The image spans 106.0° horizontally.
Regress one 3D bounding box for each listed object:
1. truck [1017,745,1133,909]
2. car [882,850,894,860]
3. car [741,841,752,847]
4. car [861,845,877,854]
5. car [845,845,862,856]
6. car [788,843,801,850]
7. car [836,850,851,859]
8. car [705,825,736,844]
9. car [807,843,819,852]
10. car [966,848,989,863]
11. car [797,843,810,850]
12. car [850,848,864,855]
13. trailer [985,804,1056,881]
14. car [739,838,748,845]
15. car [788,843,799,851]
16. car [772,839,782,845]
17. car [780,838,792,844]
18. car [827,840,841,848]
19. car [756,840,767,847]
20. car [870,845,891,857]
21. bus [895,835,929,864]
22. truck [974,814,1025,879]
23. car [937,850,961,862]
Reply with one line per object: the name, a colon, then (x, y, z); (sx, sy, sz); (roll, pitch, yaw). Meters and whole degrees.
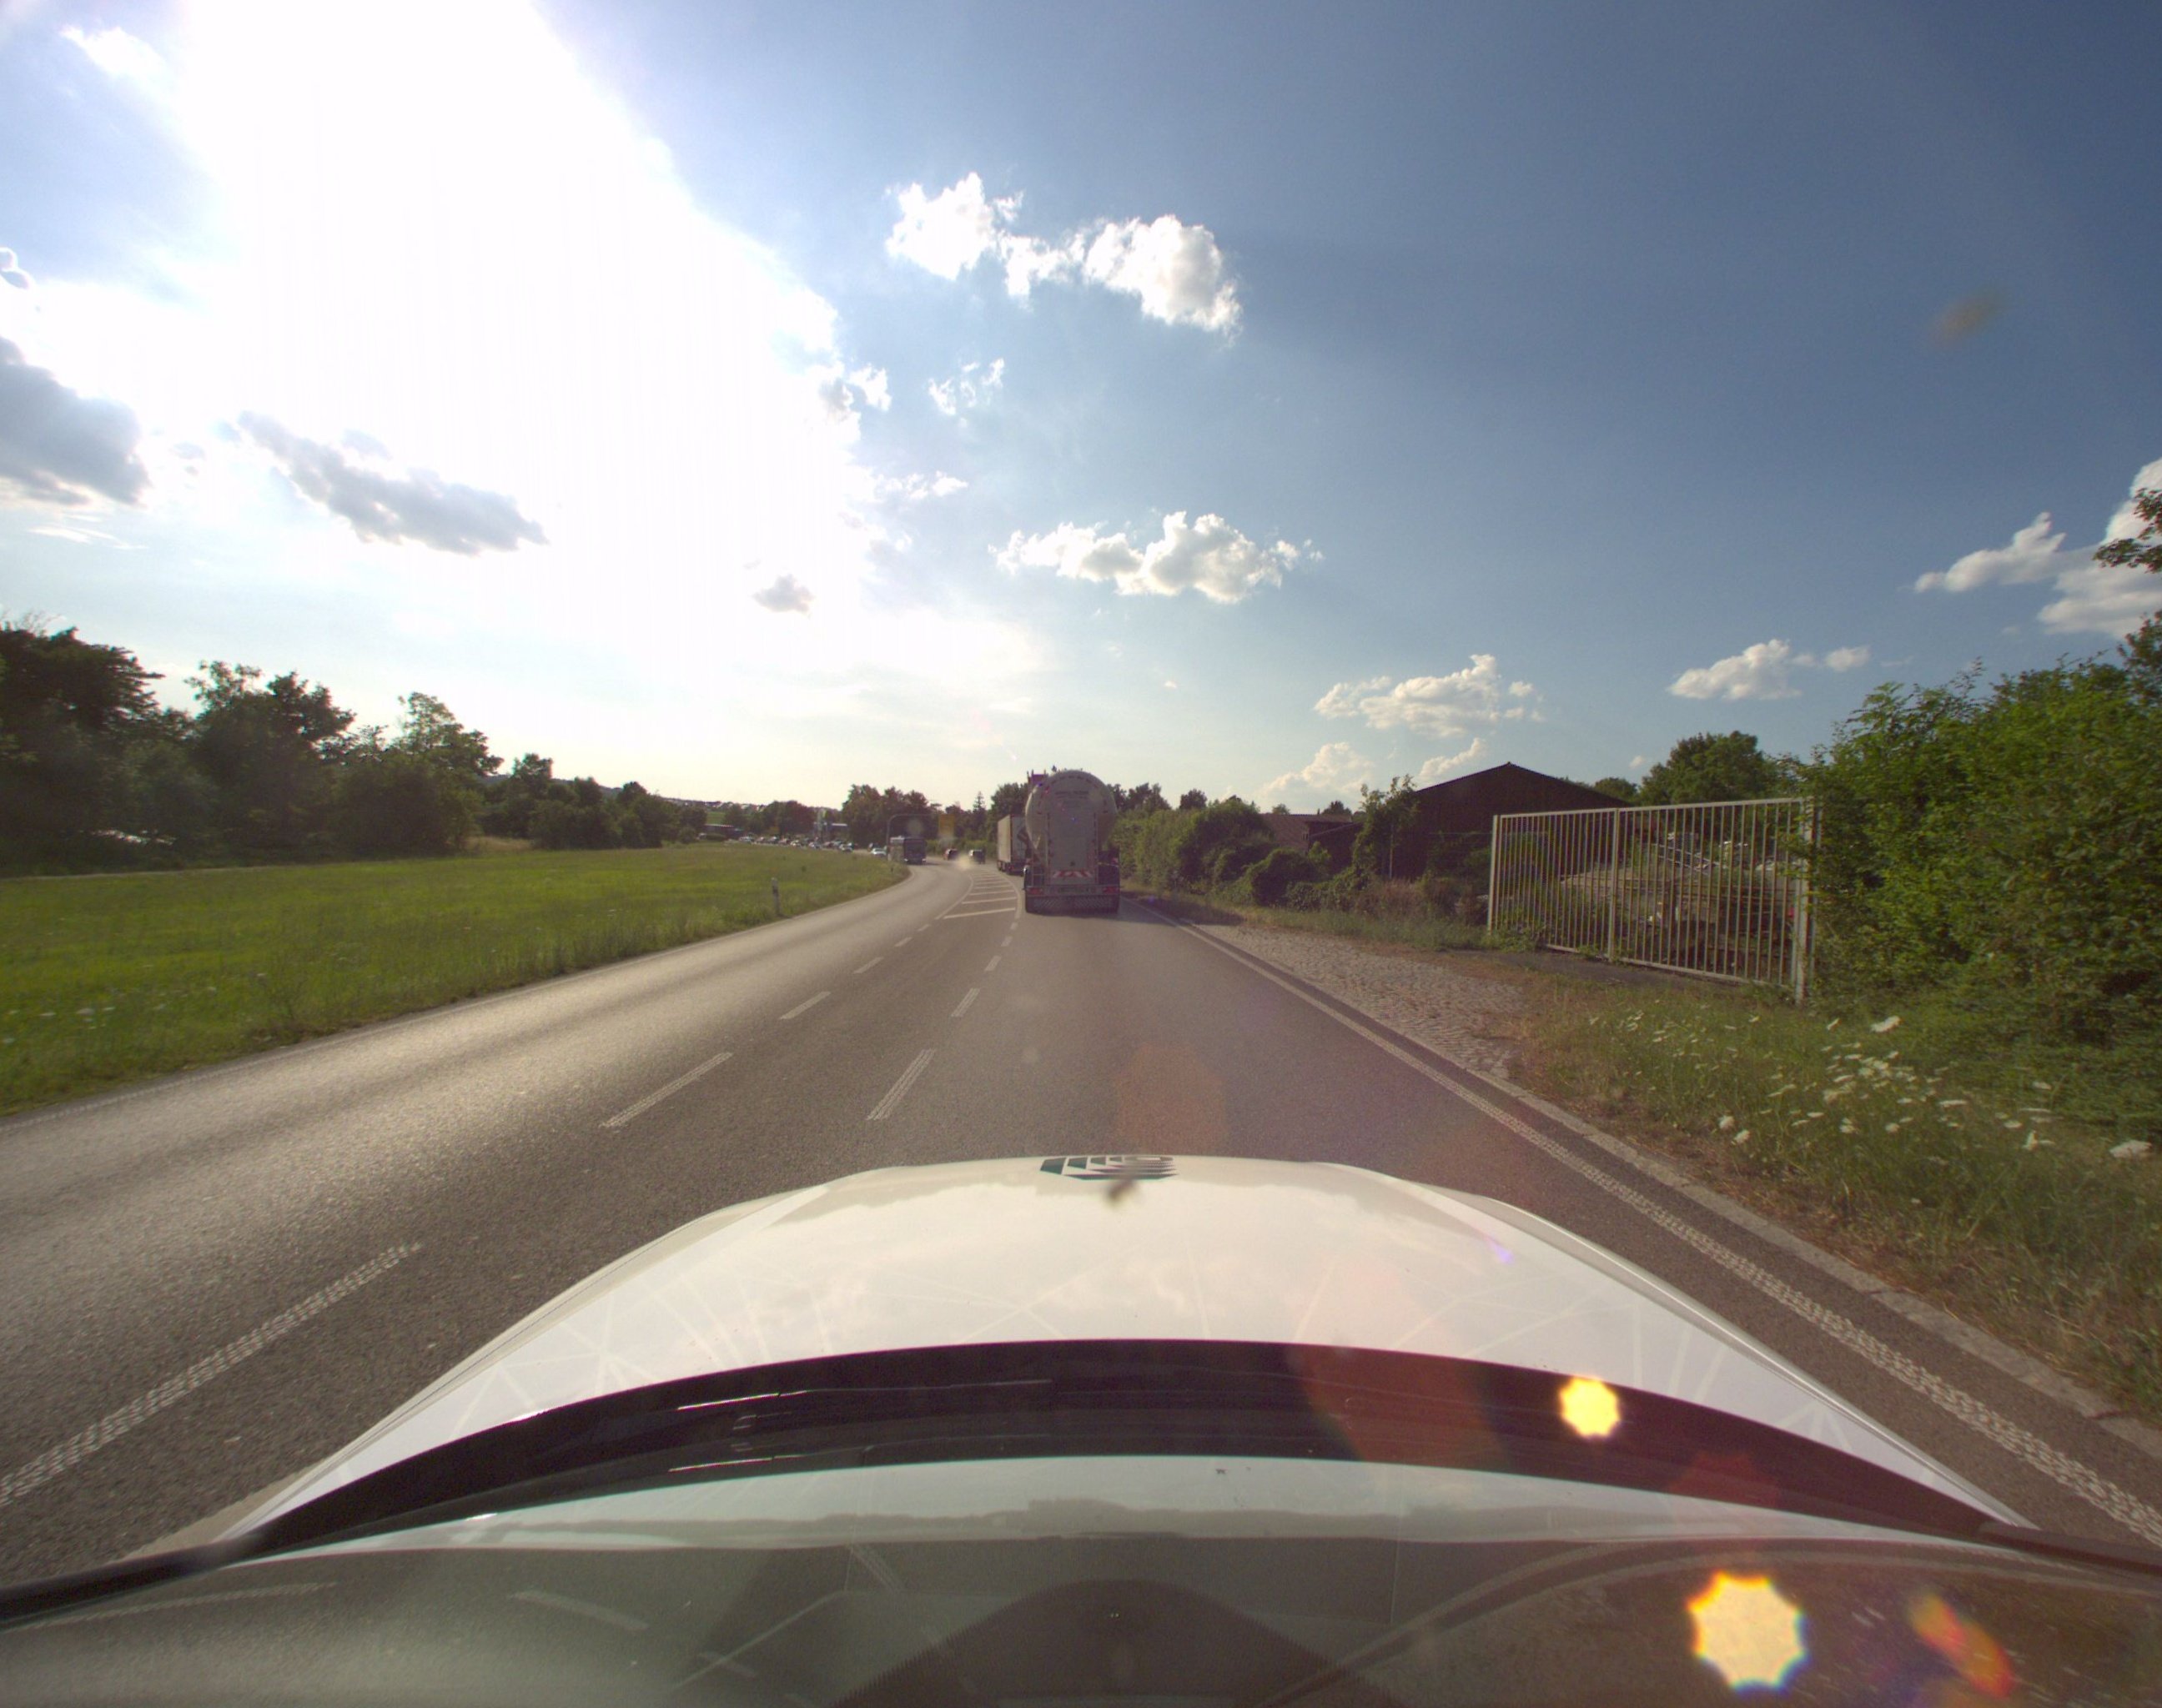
truck: (-0.441, -0.603, 26.692); (2.969, 4.175, 11.648); (0, -1, -3)
car: (-34.370, 0.141, 145.178); (1.525, 1.656, 3.845); (1, -1, -21)
car: (-88.947, -2.647, 216.694); (1.895, 1.599, 3.959); (1, 0, -33)
car: (-41.080, -0.918, 157.994); (2.097, 1.599, 3.964); (1, 0, -28)
car: (-35.318, -0.547, 126.457); (1.851, 1.656, 3.965); (1, -1, -26)
car: (-68.970, -1.773, 196.040); (2.098, 1.599, 3.962); (1, 0, -30)
car: (-41.806, 0.090, 143.410); (1.851, 1.656, 3.965); (1, -1, -26)
car: (-101.278, -5.387, 228.683); (3.573, 5.059, 13.080); (1, 0, -45)
car: (-53.670, -1.269, 162.919); (2.002, 1.725, 4.392); (0, 1, -23)
car: (-11.931, 0.158, 93.602); (1.999, 1.656, 3.976); (0, -1, -18)
car: (-64.156, -1.655, 188.422); (2.099, 1.599, 3.961); (1, 0, -31)
car: (-48.393, -0.524, 175.767); (2.097, 1.599, 3.964); (1, 0, -28)
trailer: (-4.408, -0.654, 57.000); (2.970, 4.882, 10.232); (0, -1, -16)
car: (-83.846, -3.065, 202.406); (1.851, 1.656, 3.964); (1, -1, -27)
car: (-63.065, -1.422, 178.429); (1.851, 1.656, 3.965); (1, -1, -26)
car: (-77.087, -2.982, 206.447); (1.894, 1.599, 3.961); (1, 0, -31)
car: (-73.129, -3.213, 201.703); (1.895, 1.599, 3.958); (1, 0, -34)
car: (-54.364, -2.169, 179.141); (2.097, 1.599, 3.964); (1, 0, -28)
car: (-83.238, -2.720, 212.446); (1.895, 1.599, 3.959); (1, 0, -33)
car: (-29.181, -0.375, 118.372); (1.853, 1.656, 3.960); (1, -1, -32)
bus: (-20.029, -0.436, 96.142); (2.801, 3.181, 12.054); (0, -1, -17)
truck: (-6.505, -0.514, 64.208); (2.968, 4.887, 6.396); (0, -1, -16)
car: (-17.784, 0.288, 109.633); (2.308, 1.656, 4.383); (0, -1, -21)
